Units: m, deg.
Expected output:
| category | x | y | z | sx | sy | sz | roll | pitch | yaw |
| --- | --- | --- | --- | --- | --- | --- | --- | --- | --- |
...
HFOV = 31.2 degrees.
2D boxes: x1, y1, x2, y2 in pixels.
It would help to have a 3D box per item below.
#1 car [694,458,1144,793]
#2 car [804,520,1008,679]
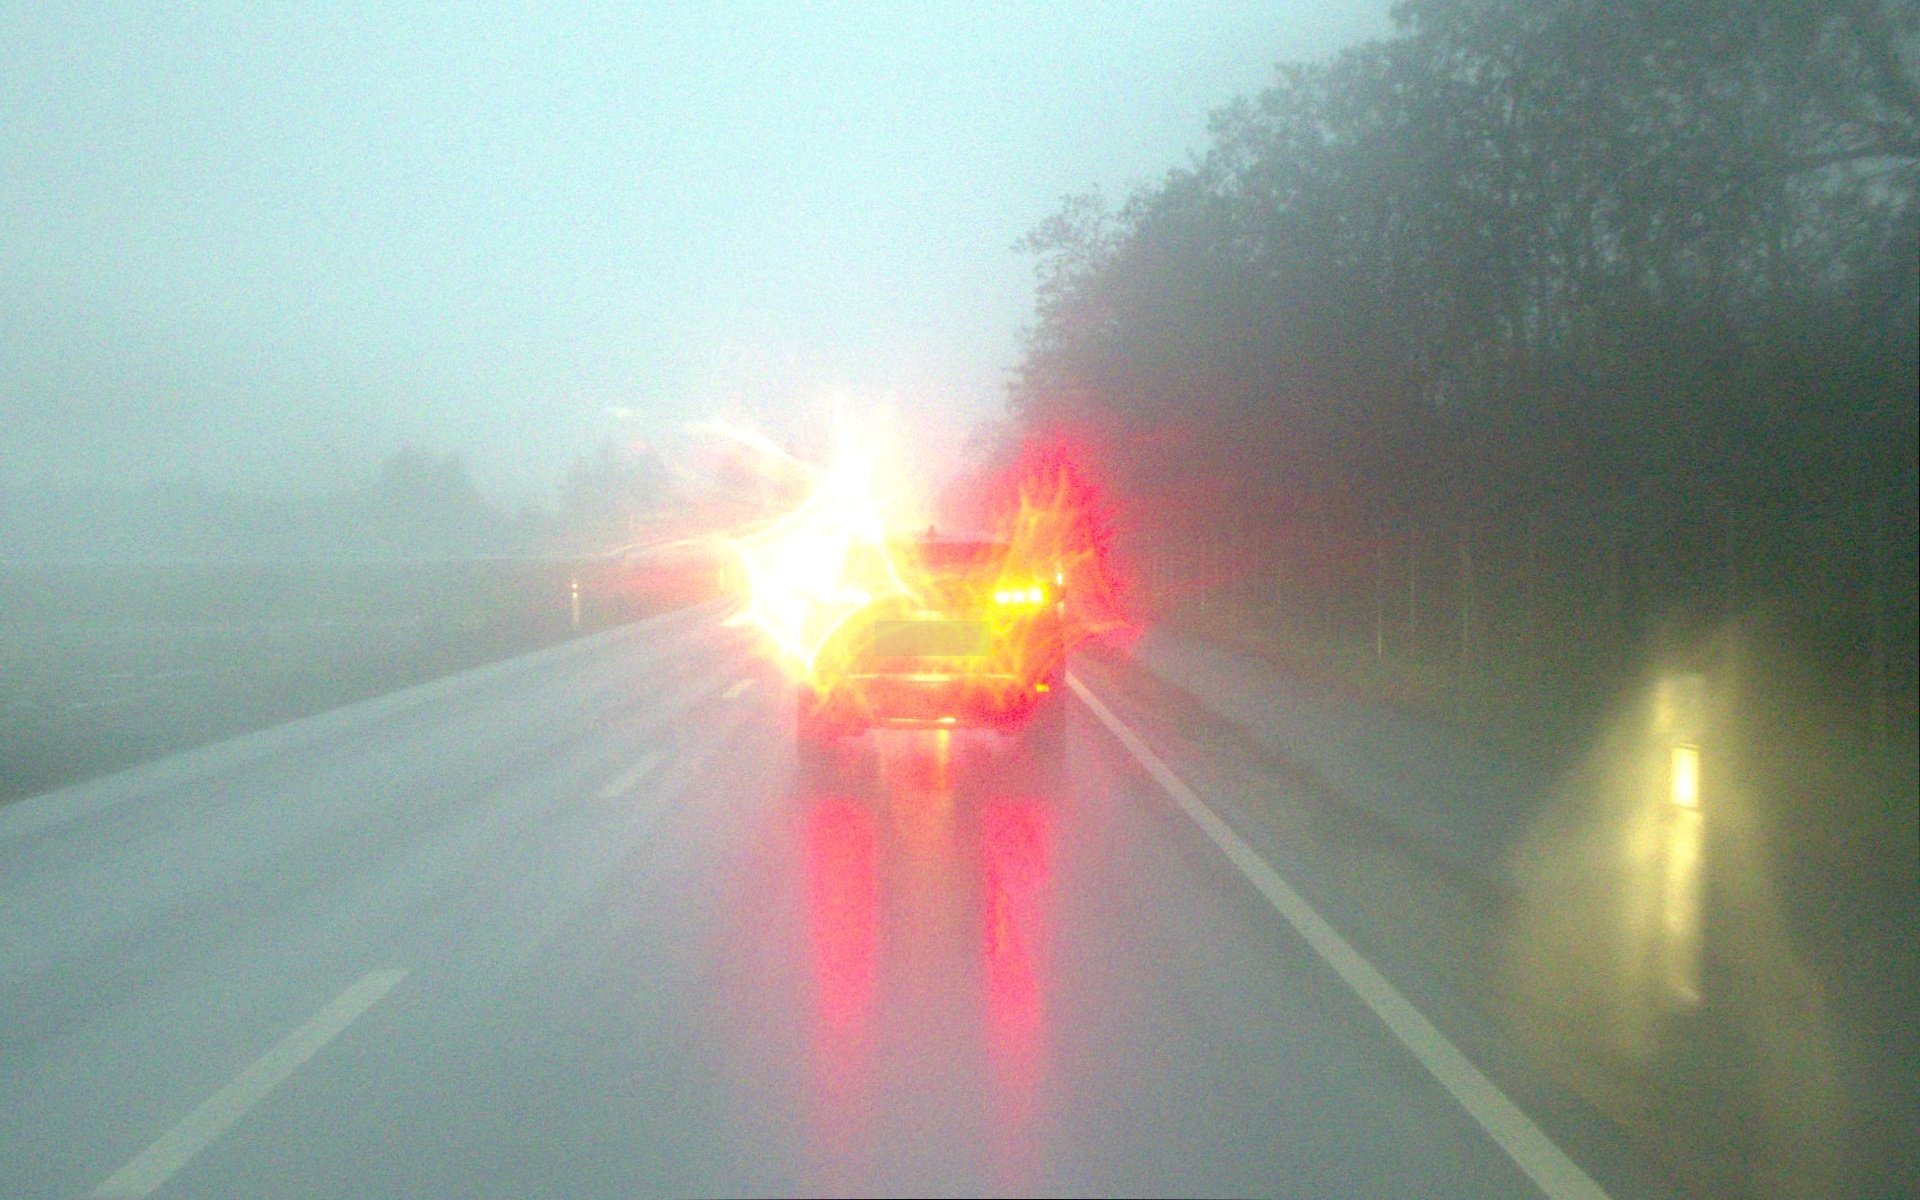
| category | x | y | z | sx | sy | sz | roll | pitch | yaw |
| --- | --- | --- | --- | --- | --- | --- | --- | --- | --- |
| car | -0.249 | 0.124 | 24.705 | 2.820 | 2.070 | 5.804 | 1 | 1 | 0 |
| car | -0.688 | -0.045 | 47.239 | 2.592 | 2.007 | 5.804 | 1 | 1 | 0 |
